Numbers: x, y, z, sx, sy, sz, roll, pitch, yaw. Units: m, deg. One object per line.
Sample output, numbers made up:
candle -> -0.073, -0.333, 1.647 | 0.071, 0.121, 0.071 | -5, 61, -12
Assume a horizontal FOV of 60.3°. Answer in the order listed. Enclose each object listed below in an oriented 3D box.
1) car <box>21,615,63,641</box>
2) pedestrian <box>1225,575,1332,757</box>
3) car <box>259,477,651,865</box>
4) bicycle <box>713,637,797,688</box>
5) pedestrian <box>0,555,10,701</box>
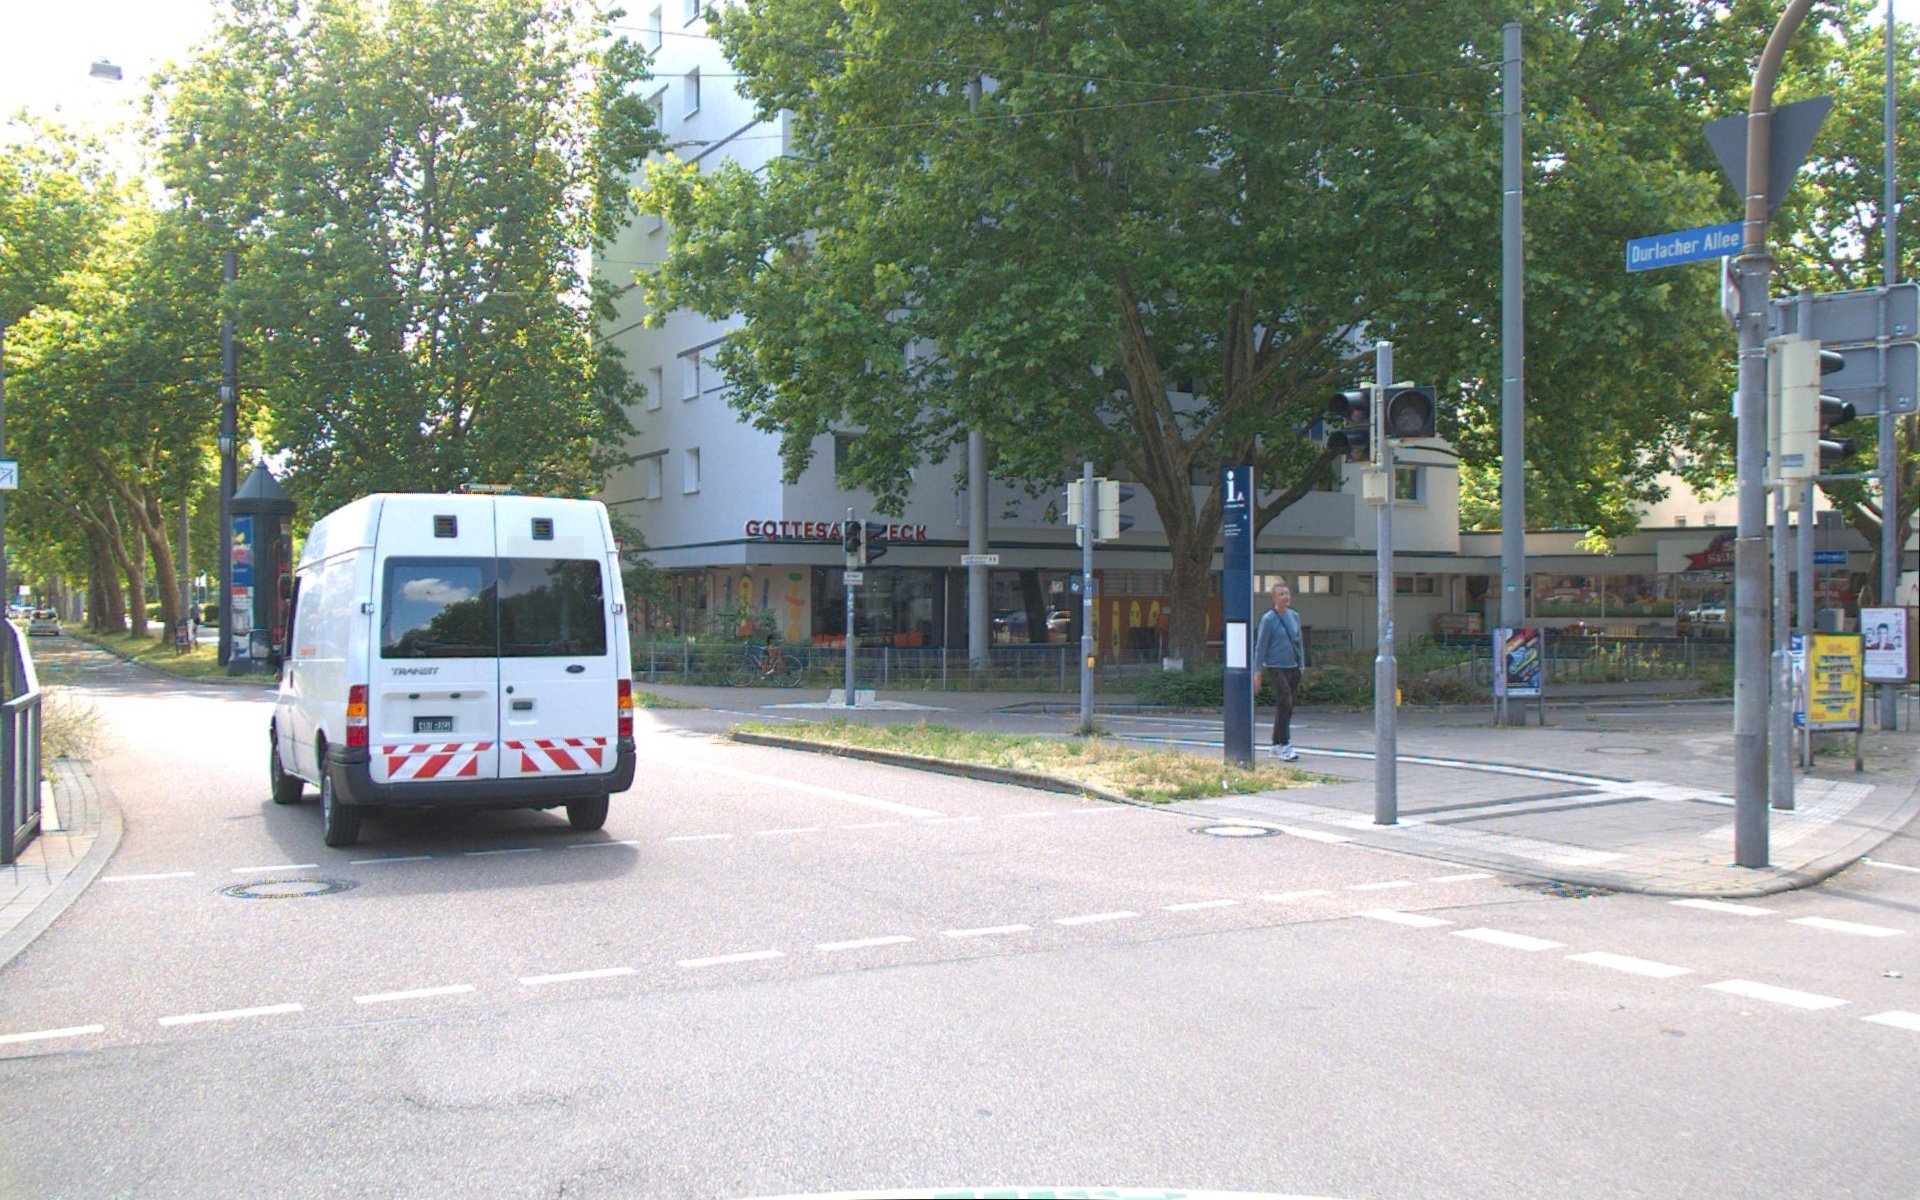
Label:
car -> -54.428, 1.635, 98.029 | 1.801, 1.518, 3.951 | 0, -1, -35
pedestrian -> 3.276, 0.660, 17.054 | 0.684, 1.814, 0.879 | 0, 0, -28
car -> -4.062, 0.450, 12.695 | 2.024, 2.374, 4.670 | 1, -1, -28
bicycle -> -4.245, 1.291, 34.250 | 1.689, 1.027, 0.534 | 0, 0, -4
pedestrian -> -13.233, 0.377, 22.221 | 0.818, 1.932, 0.837 | 0, -1, -31
